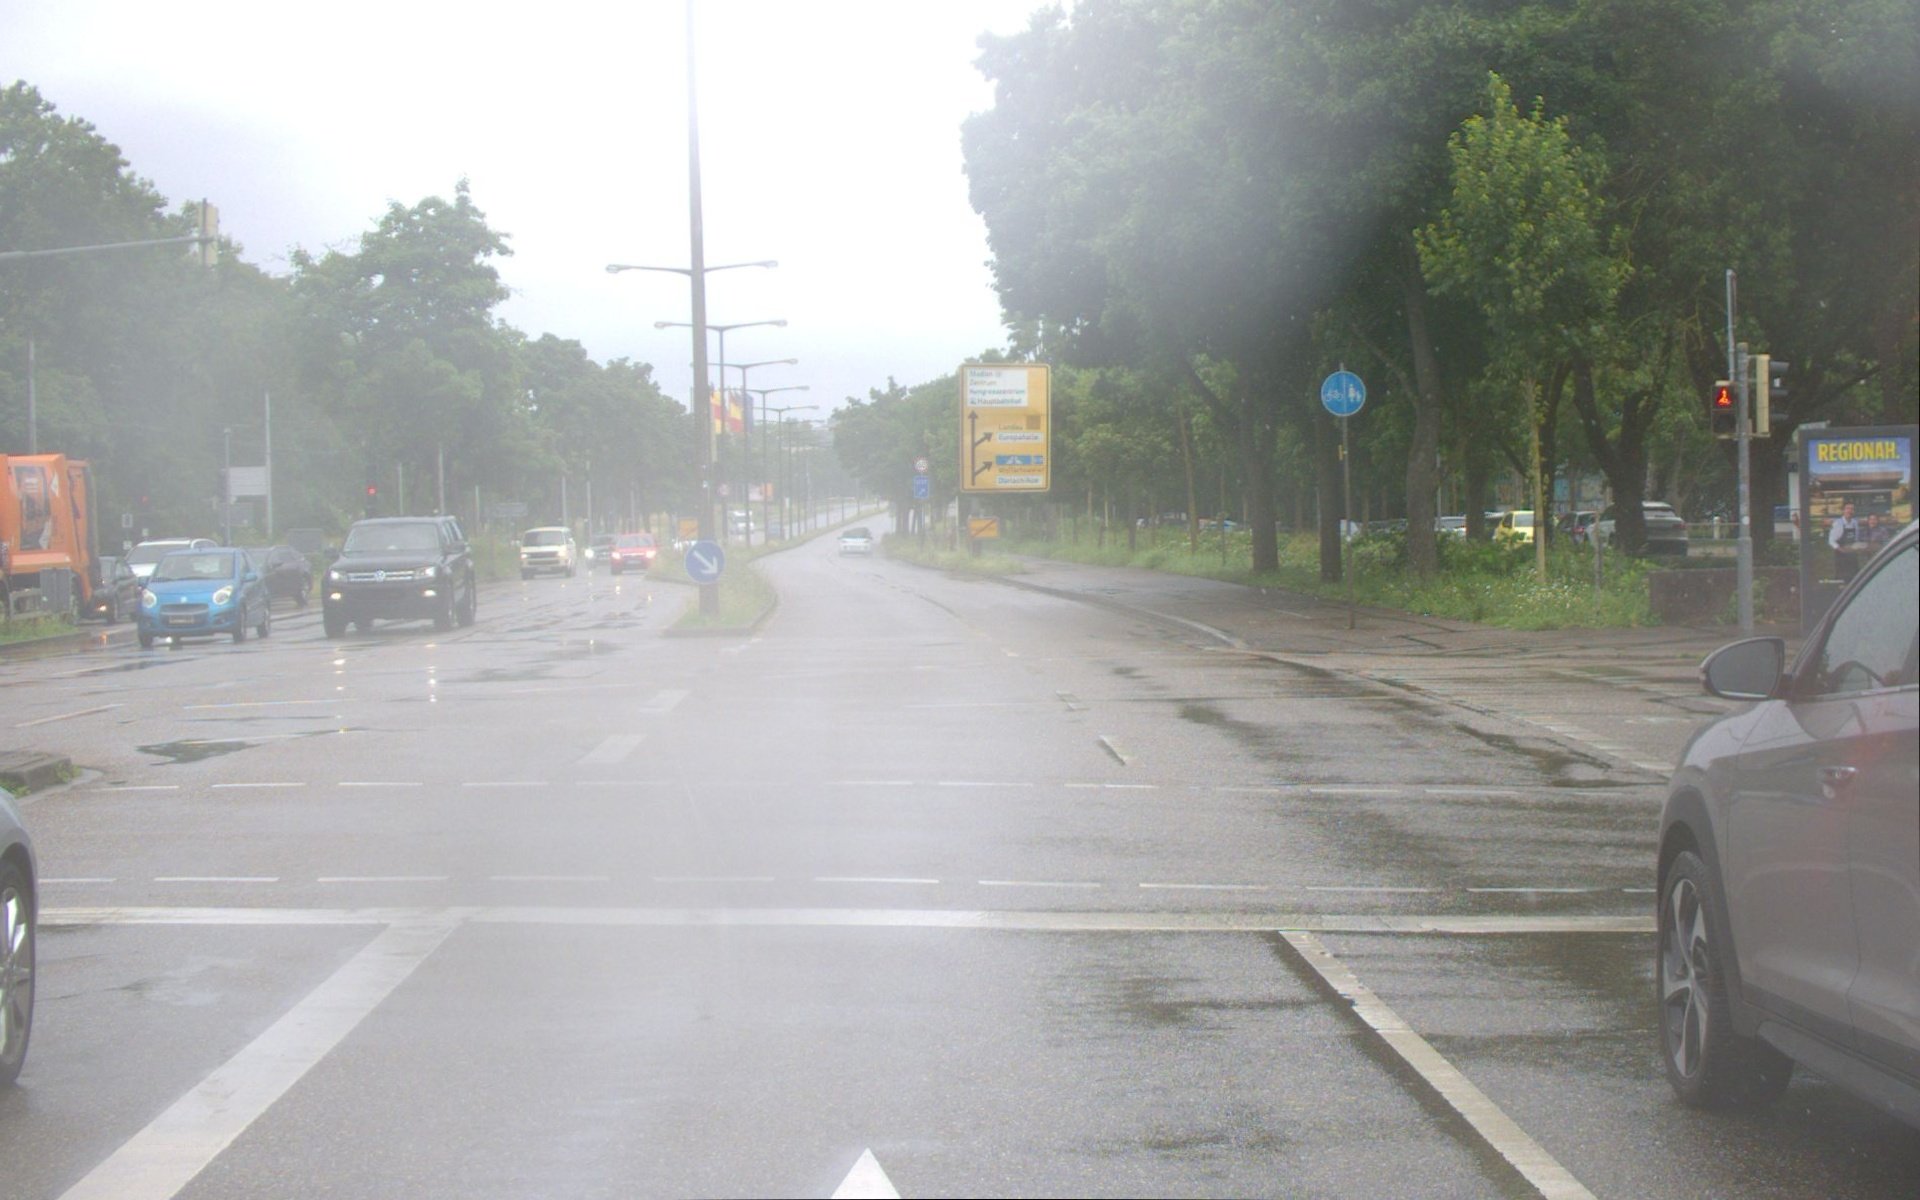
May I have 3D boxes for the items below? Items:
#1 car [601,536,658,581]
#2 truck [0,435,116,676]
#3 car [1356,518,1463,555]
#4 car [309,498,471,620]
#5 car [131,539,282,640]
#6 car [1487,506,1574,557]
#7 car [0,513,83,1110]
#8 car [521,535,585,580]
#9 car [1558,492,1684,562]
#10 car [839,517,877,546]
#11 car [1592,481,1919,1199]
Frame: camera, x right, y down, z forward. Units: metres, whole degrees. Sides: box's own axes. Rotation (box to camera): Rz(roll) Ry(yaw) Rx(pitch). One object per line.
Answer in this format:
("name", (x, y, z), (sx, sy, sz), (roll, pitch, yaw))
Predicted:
("car", (-12.272, -1.536, 127.797), (1.801, 1.564, 4.429), (-3, 1, -2))
("truck", (-18.345, -0.842, 63.184), (3.384, 4.153, 10.408), (1, 1, -2))
("car", (20.926, -2.953, 160.065), (4.568, 1.639, 2.000), (1, 1, -7))
("car", (-8.966, -0.678, 54.446), (1.805, 1.767, 5.090), (-2, 1, -2))
("car", (-11.686, -0.188, 53.532), (1.640, 1.422, 4.001), (-3, 1, -4))
("car", (16.969, -2.027, 102.376), (1.637, 1.481, 4.074), (1, 1, -4))
("car", (-3.313, 0.571, 7.773), (1.736, 1.539, 4.014), (0, 1, -2))
("car", (-15.083, -1.588, 127.474), (1.894, 1.605, 4.501), (-1, 1, -1))
("car", (17.071, -1.880, 88.966), (1.993, 1.711, 4.879), (-2, 1, -4))
("car", (-5.366, -3.614, 180.993), (1.907, 1.509, 4.000), (-1, 1, -1))
("car", (2.723, 0.567, 7.539), (1.884, 1.605, 4.196), (0, 1, 0))
